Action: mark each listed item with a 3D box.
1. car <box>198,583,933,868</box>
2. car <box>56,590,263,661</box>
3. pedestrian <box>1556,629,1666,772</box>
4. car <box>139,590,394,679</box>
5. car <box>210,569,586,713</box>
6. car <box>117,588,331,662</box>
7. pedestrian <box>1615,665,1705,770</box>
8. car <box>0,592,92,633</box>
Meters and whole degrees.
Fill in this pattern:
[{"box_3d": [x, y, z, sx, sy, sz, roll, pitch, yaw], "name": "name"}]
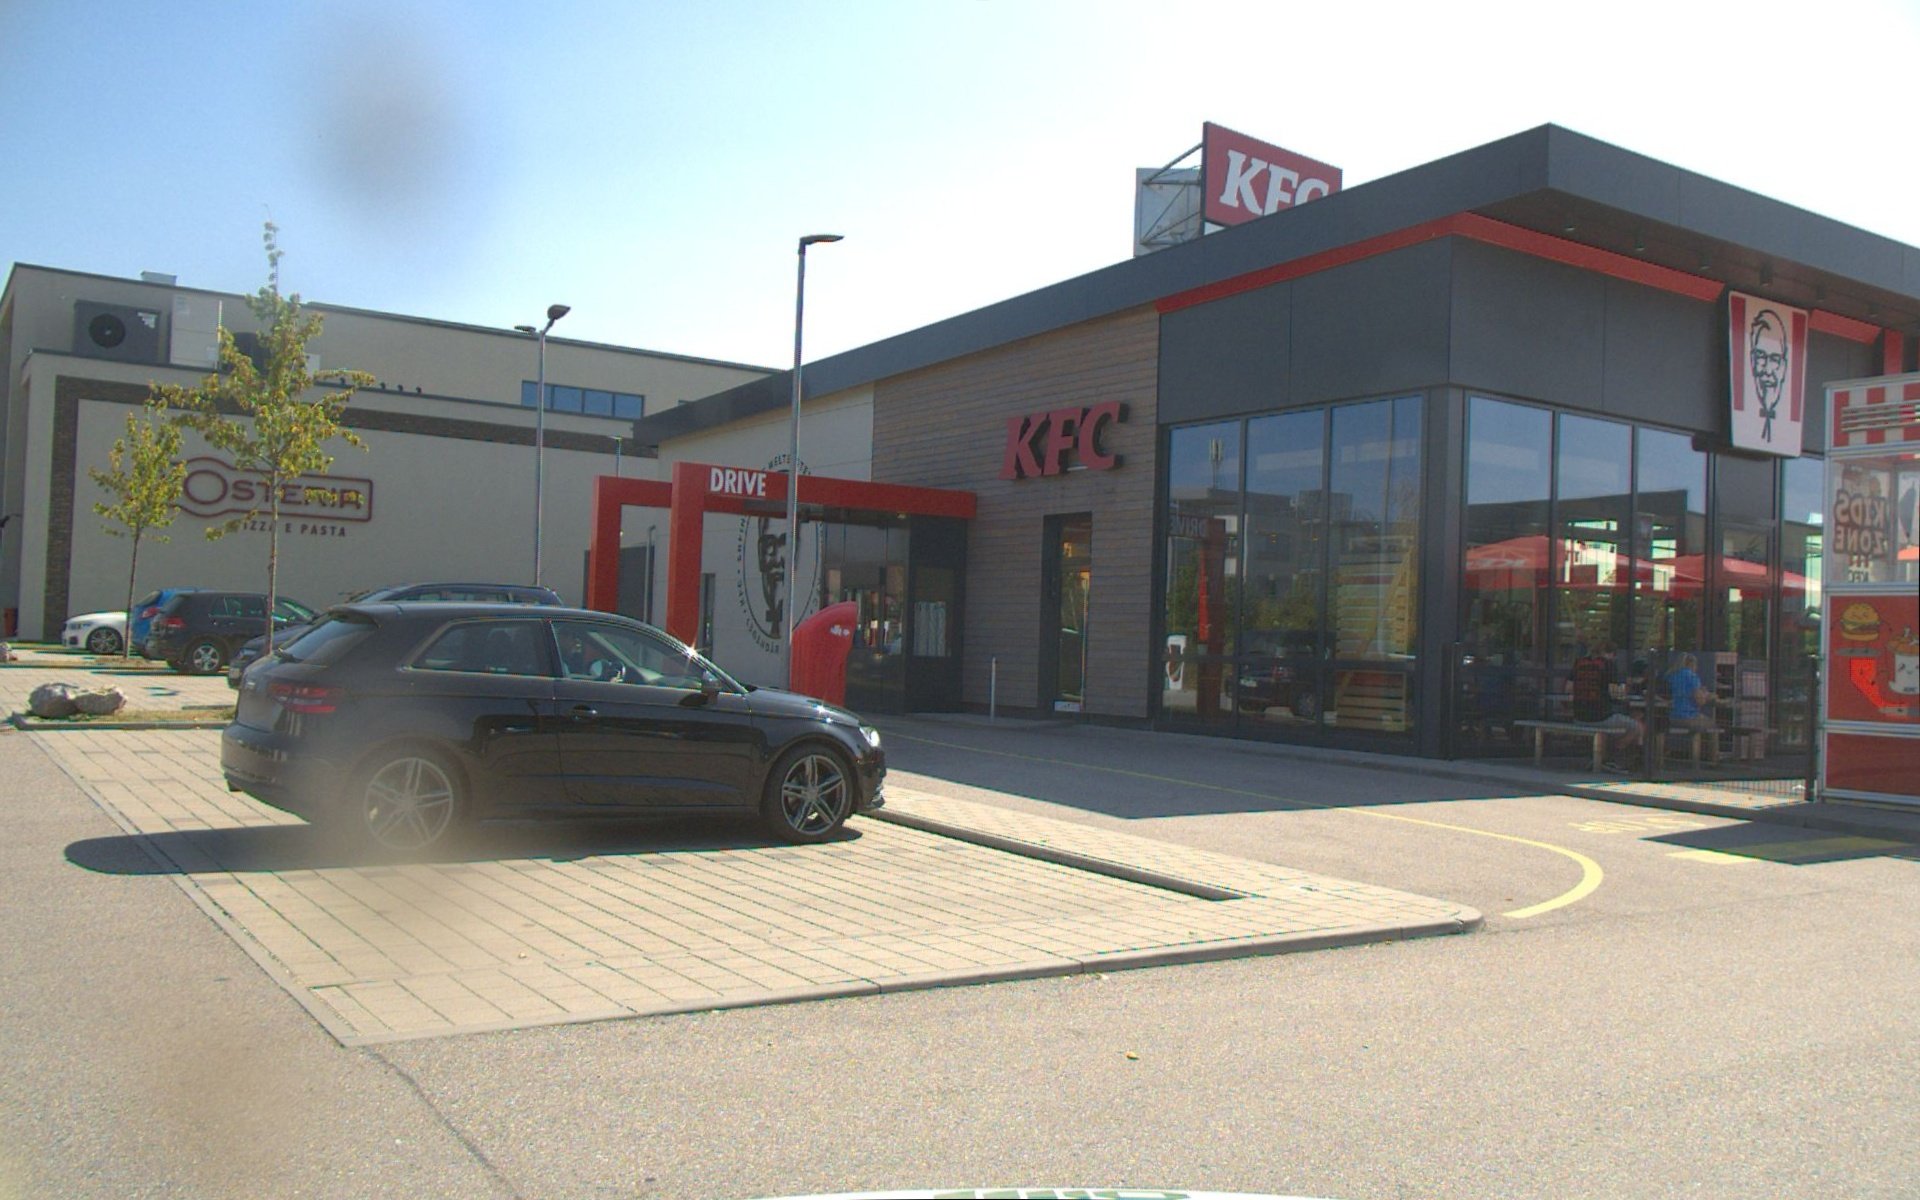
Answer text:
[{"box_3d": [-2.369, 0.736, 10.420, 4.165, 1.466, 1.678, 3, -1, -35], "name": "car"}, {"box_3d": [-18.151, 0.588, 37.581, 3.957, 1.445, 1.629, 3, -1, -38], "name": "car"}, {"box_3d": [6.935, 1.054, 17.628, 0.791, 1.460, 0.762, 2, -1, -37], "name": "pedestrian"}, {"box_3d": [-12.515, 0.646, 29.966, 3.957, 1.445, 1.629, 3, -1, -38], "name": "car"}, {"box_3d": [-7.277, 0.573, 21.658, 4.341, 1.715, 1.619, 3, -2, -39], "name": "car"}, {"box_3d": [-15.952, 0.557, 35.941, 3.957, 1.445, 1.629, 3, -1, -38], "name": "car"}, {"box_3d": [7.645, 1.267, 18.069, 0.710, 1.090, 0.621, 2, -1, -37], "name": "pedestrian"}, {"box_3d": [-28.832, 0.353, 50.423, 3.954, 1.176, 1.975, 2, -1, -36], "name": "car"}]
